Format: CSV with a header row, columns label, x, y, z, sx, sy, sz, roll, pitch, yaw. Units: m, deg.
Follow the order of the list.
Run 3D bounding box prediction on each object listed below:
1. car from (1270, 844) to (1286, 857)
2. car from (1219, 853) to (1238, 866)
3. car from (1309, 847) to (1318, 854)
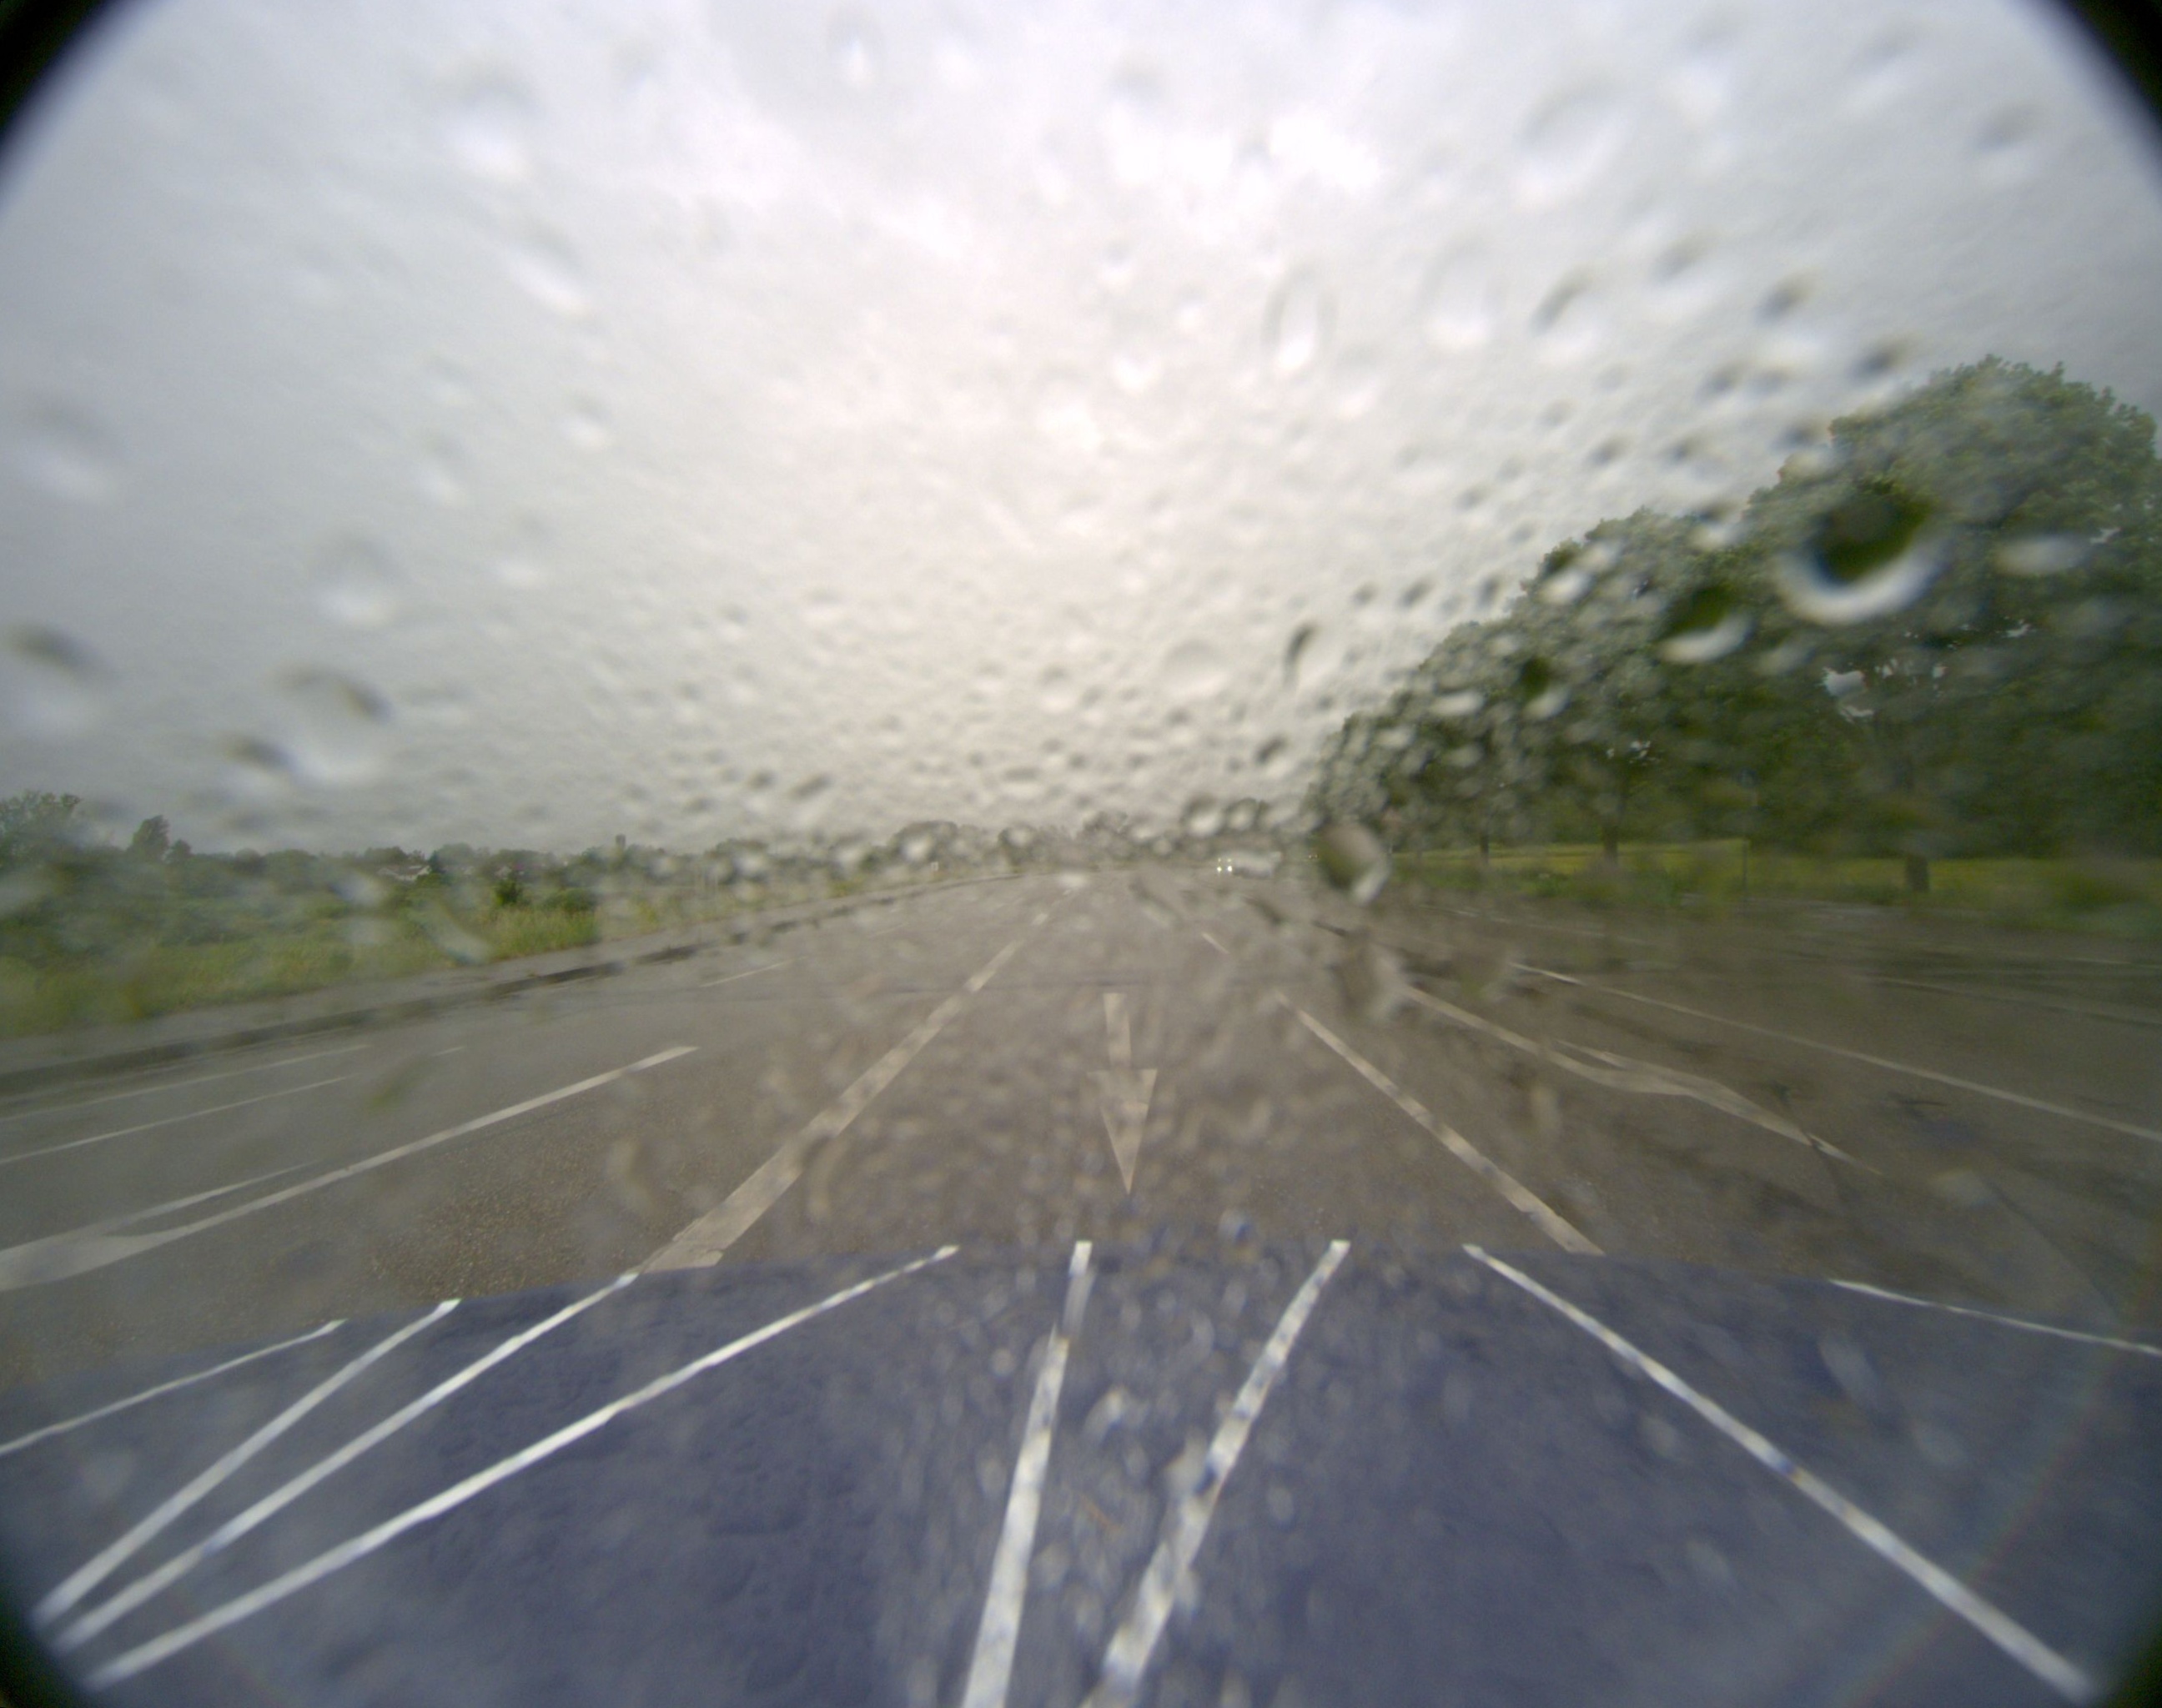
label,x,y,z,sx,sy,sz,roll,pitch,yaw
car,30.416,-0.553,117.242,2.109,1.881,4.796,-1,0,17
car,20.049,0.710,103.128,1.913,1.576,4.108,-1,1,20
car,65.026,-0.954,212.463,1.913,1.678,4.109,-1,1,25
